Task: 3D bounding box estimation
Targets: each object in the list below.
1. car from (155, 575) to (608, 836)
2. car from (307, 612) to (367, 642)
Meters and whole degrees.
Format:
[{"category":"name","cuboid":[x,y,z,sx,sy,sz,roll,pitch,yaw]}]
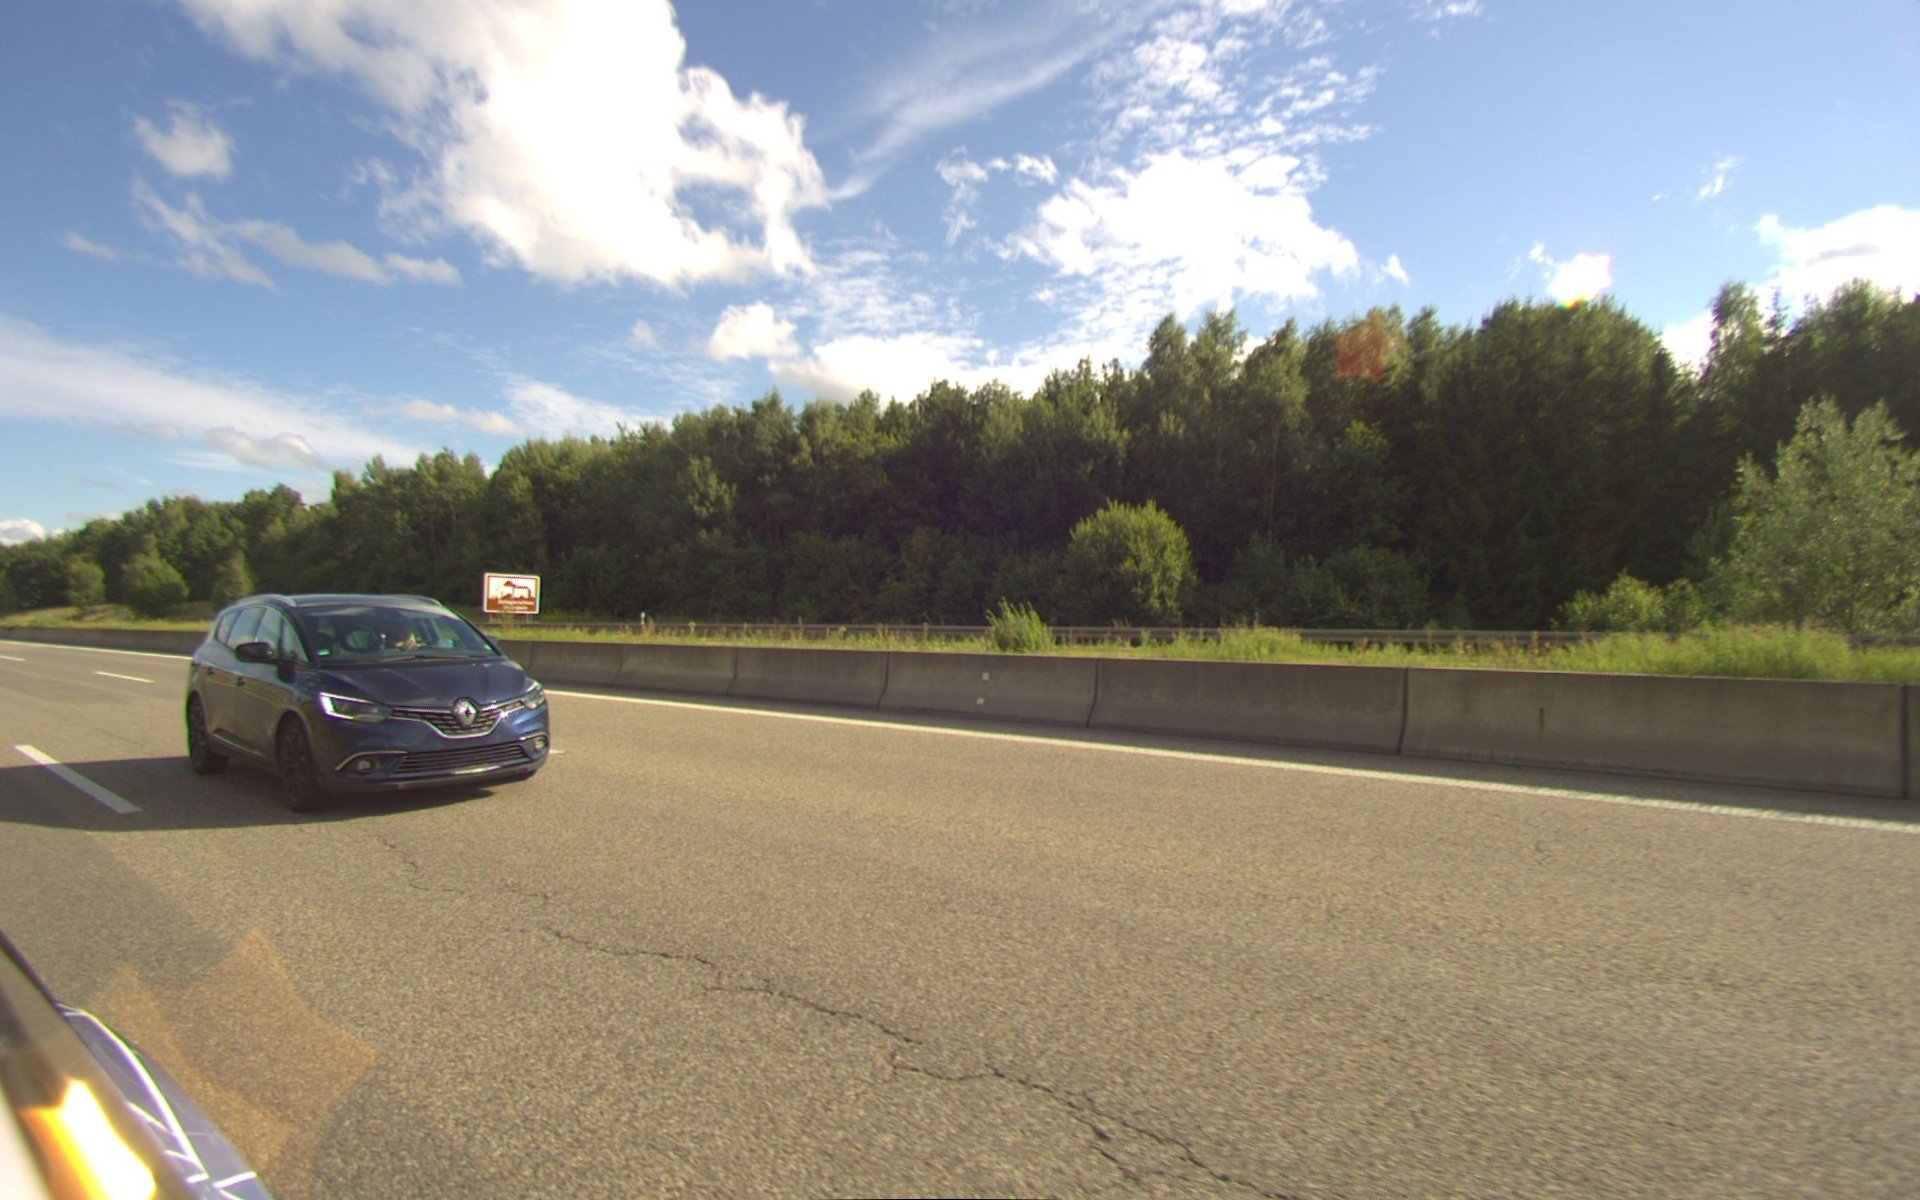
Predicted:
[{"category":"car","cuboid":[-5.229,0.711,8.885,4.525,1.719,1.974,-1,0,40]},{"category":"car","cuboid":[-37.607,1.607,61.077,4.047,1.760,1.973,-1,-1,41]}]
